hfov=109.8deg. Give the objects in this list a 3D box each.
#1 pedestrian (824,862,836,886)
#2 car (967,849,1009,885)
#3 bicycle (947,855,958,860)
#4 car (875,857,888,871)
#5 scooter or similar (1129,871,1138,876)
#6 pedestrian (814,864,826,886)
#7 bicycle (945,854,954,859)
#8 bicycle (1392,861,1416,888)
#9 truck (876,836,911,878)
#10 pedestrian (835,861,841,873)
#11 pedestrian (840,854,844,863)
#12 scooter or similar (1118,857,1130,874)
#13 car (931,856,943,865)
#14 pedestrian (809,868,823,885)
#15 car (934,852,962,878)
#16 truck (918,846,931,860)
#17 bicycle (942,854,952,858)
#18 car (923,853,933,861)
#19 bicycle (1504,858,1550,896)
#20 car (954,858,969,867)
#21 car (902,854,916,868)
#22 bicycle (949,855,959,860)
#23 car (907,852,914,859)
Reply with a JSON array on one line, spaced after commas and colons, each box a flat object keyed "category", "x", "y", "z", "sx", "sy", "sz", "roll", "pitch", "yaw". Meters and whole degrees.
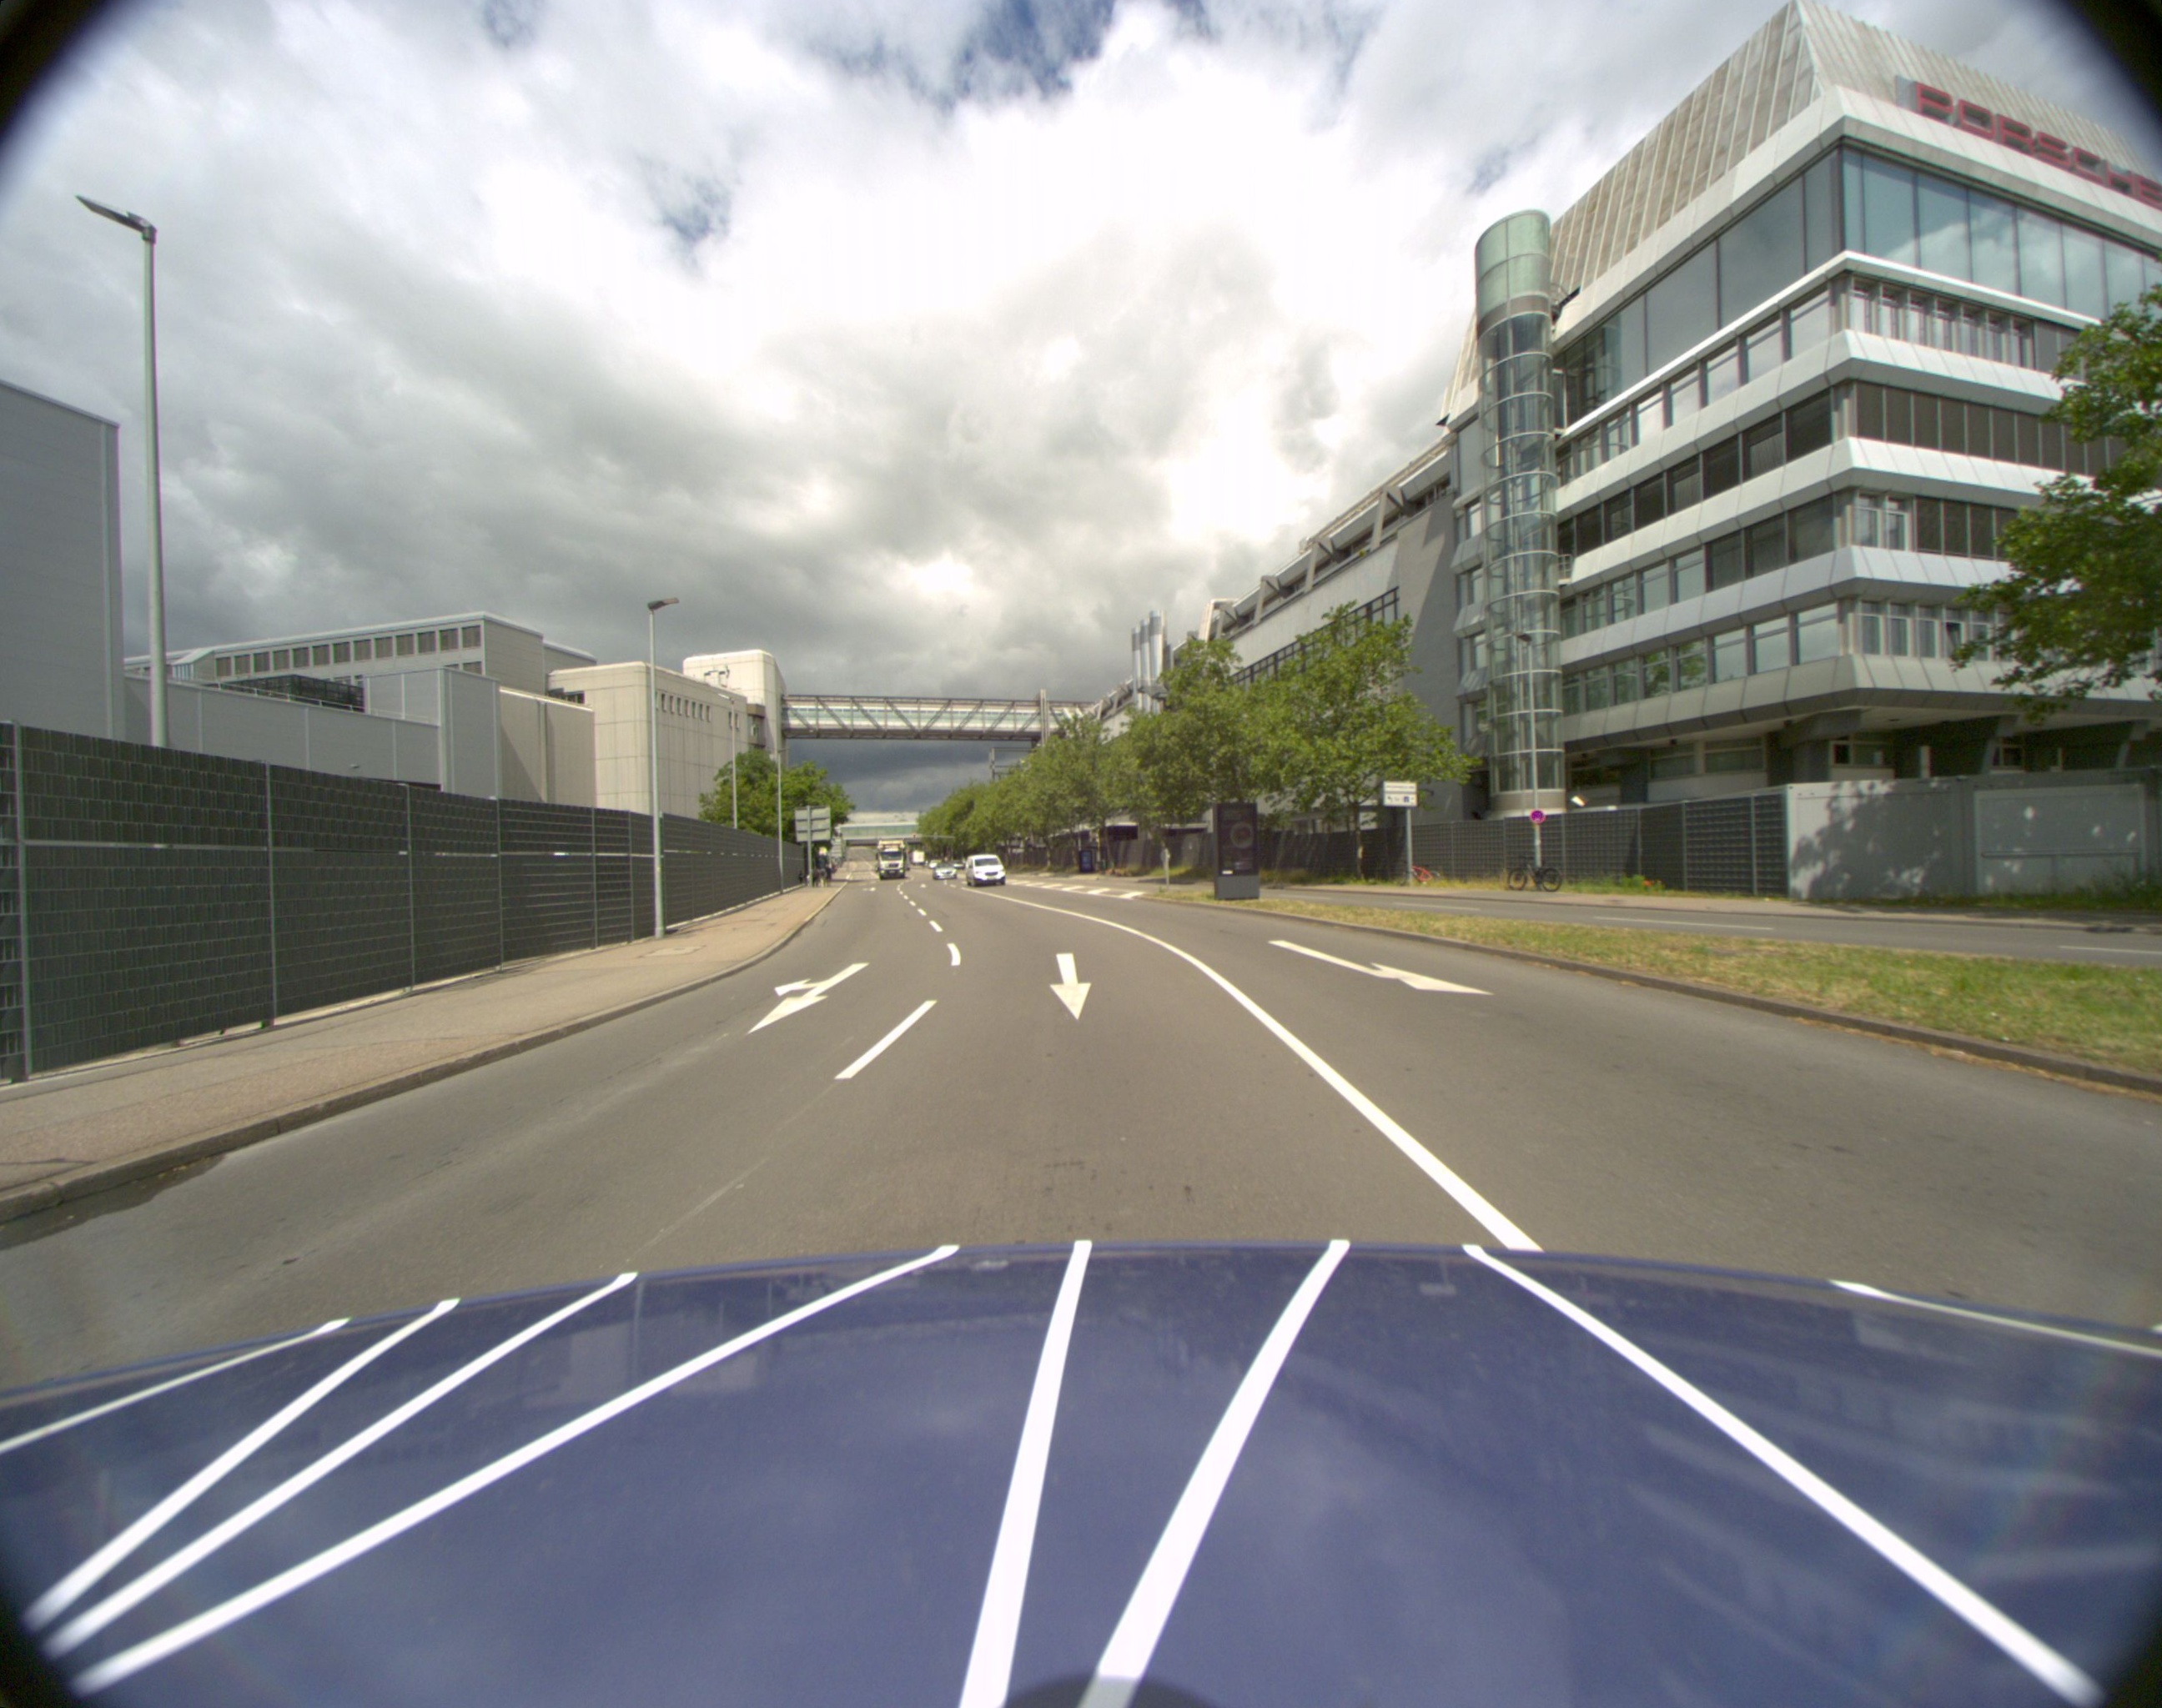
[{"category": "pedestrian", "x": -18.820, "y": 1.511, "z": 56.957, "sx": 0.798, "sy": 1.711, "sz": 0.730, "roll": -3, "pitch": 2, "yaw": -19}, {"category": "car", "x": -5.599, "y": 0.786, "z": 45.294, "sx": 1.827, "sy": 2.001, "sz": 4.386, "roll": -2, "pitch": -1, "yaw": -14}, {"category": "bicycle", "x": -31.746, "y": 0.806, "z": 188.218, "sx": 2.564, "sy": 1.079, "sz": 0.615, "roll": -3, "pitch": 2, "yaw": -10}, {"category": "car", "x": -31.585, "y": 1.501, "z": 120.246, "sx": 1.874, "sy": 1.945, "sz": 4.704, "roll": -4, "pitch": 2, "yaw": -15}, {"category": "scooter or similar", "x": 4.061, "y": 1.481, "z": 58.440, "sx": 0.538, "sy": 0.321, "sz": 1.273, "roll": -3, "pitch": 0, "yaw": 9}, {"category": "pedestrian", "x": -19.855, "y": 1.575, "z": 57.811, "sx": 0.798, "sy": 1.588, "sz": 0.730, "roll": -3, "pitch": 2, "yaw": -18}, {"category": "bicycle", "x": -34.329, "y": 0.621, "z": 198.318, "sx": 2.414, "sy": 1.079, "sz": 0.615, "roll": -3, "pitch": 2, "yaw": -6}, {"category": "bicycle", "x": 12.886, "y": 0.797, "z": 30.318, "sx": 0.297, "sy": 1.000, "sz": 1.251, "roll": -3, "pitch": 1, "yaw": -5}, {"category": "truck", "x": -19.266, "y": 0.254, "z": 77.607, "sx": 2.716, "sy": 3.863, "sz": 10.724, "roll": -3, "pitch": 1, "yaw": -17}, {"category": "pedestrian", "x": -32.972, "y": 1.719, "z": 103.170, "sx": 0.813, "sy": 1.635, "sz": 0.996, "roll": -1, "pitch": 1, "yaw": -17}, {"category": "pedestrian", "x": -51.123, "y": 0.999, "z": 162.717, "sx": 0.730, "sy": 1.756, "sz": 1.014, "roll": -3, "pitch": 2, "yaw": -16}, {"category": "scooter or similar", "x": 3.323, "y": 0.871, "z": 59.066, "sx": 0.524, "sy": 1.227, "sz": 1.316, "roll": -5, "pitch": 1, "yaw": -9}, {"category": "car", "x": -24.842, "y": 1.104, "z": 130.850, "sx": 1.698, "sy": 1.406, "sz": 4.140, "roll": 0, "pitch": 0, "yaw": -16}, {"category": "pedestrian", "x": -18.956, "y": 1.600, "z": 54.406, "sx": 0.760, "sy": 1.142, "sz": 0.970, "roll": -3, "pitch": 2, "yaw": -12}, {"category": "car", "x": -11.477, "y": 0.897, "z": 65.553, "sx": 1.874, "sy": 1.944, "sz": 4.704, "roll": -4, "pitch": 2, "yaw": -15}, {"category": "truck", "x": -36.086, "y": -0.257, "z": 174.706, "sx": 2.461, "sy": 3.111, "sz": 7.233, "roll": -3, "pitch": 1, "yaw": -14}, {"category": "bicycle", "x": -35.402, "y": 0.530, "z": 200.455, "sx": 2.565, "sy": 1.171, "sz": 0.615, "roll": -3, "pitch": 2, "yaw": -15}, {"category": "car", "x": -30.836, "y": 0.690, "z": 152.942, "sx": 1.747, "sy": 1.571, "sz": 4.261, "roll": 0, "pitch": 0, "yaw": -15}, {"category": "bicycle", "x": 14.066, "y": 0.700, "z": 23.979, "sx": 0.297, "sy": 1.125, "sz": 1.483, "roll": -3, "pitch": 1, "yaw": -12}, {"category": "car", "x": -19.340, "y": 1.369, "z": 123.167, "sx": 1.885, "sy": 1.496, "sz": 4.185, "roll": 0, "pitch": -1, "yaw": -16}, {"category": "car", "x": -27.200, "y": 1.139, "z": 120.252, "sx": 1.874, "sy": 1.945, "sz": 4.704, "roll": -4, "pitch": 2, "yaw": -15}, {"category": "bicycle", "x": -31.652, "y": 0.799, "z": 189.207, "sx": 2.564, "sy": 1.079, "sz": 0.615, "roll": -3, "pitch": 2, "yaw": -8}, {"category": "car", "x": -47.494, "y": 0.417, "z": 212.156, "sx": 1.742, "sy": 1.674, "sz": 4.208, "roll": -3, "pitch": 1, "yaw": -14}]
